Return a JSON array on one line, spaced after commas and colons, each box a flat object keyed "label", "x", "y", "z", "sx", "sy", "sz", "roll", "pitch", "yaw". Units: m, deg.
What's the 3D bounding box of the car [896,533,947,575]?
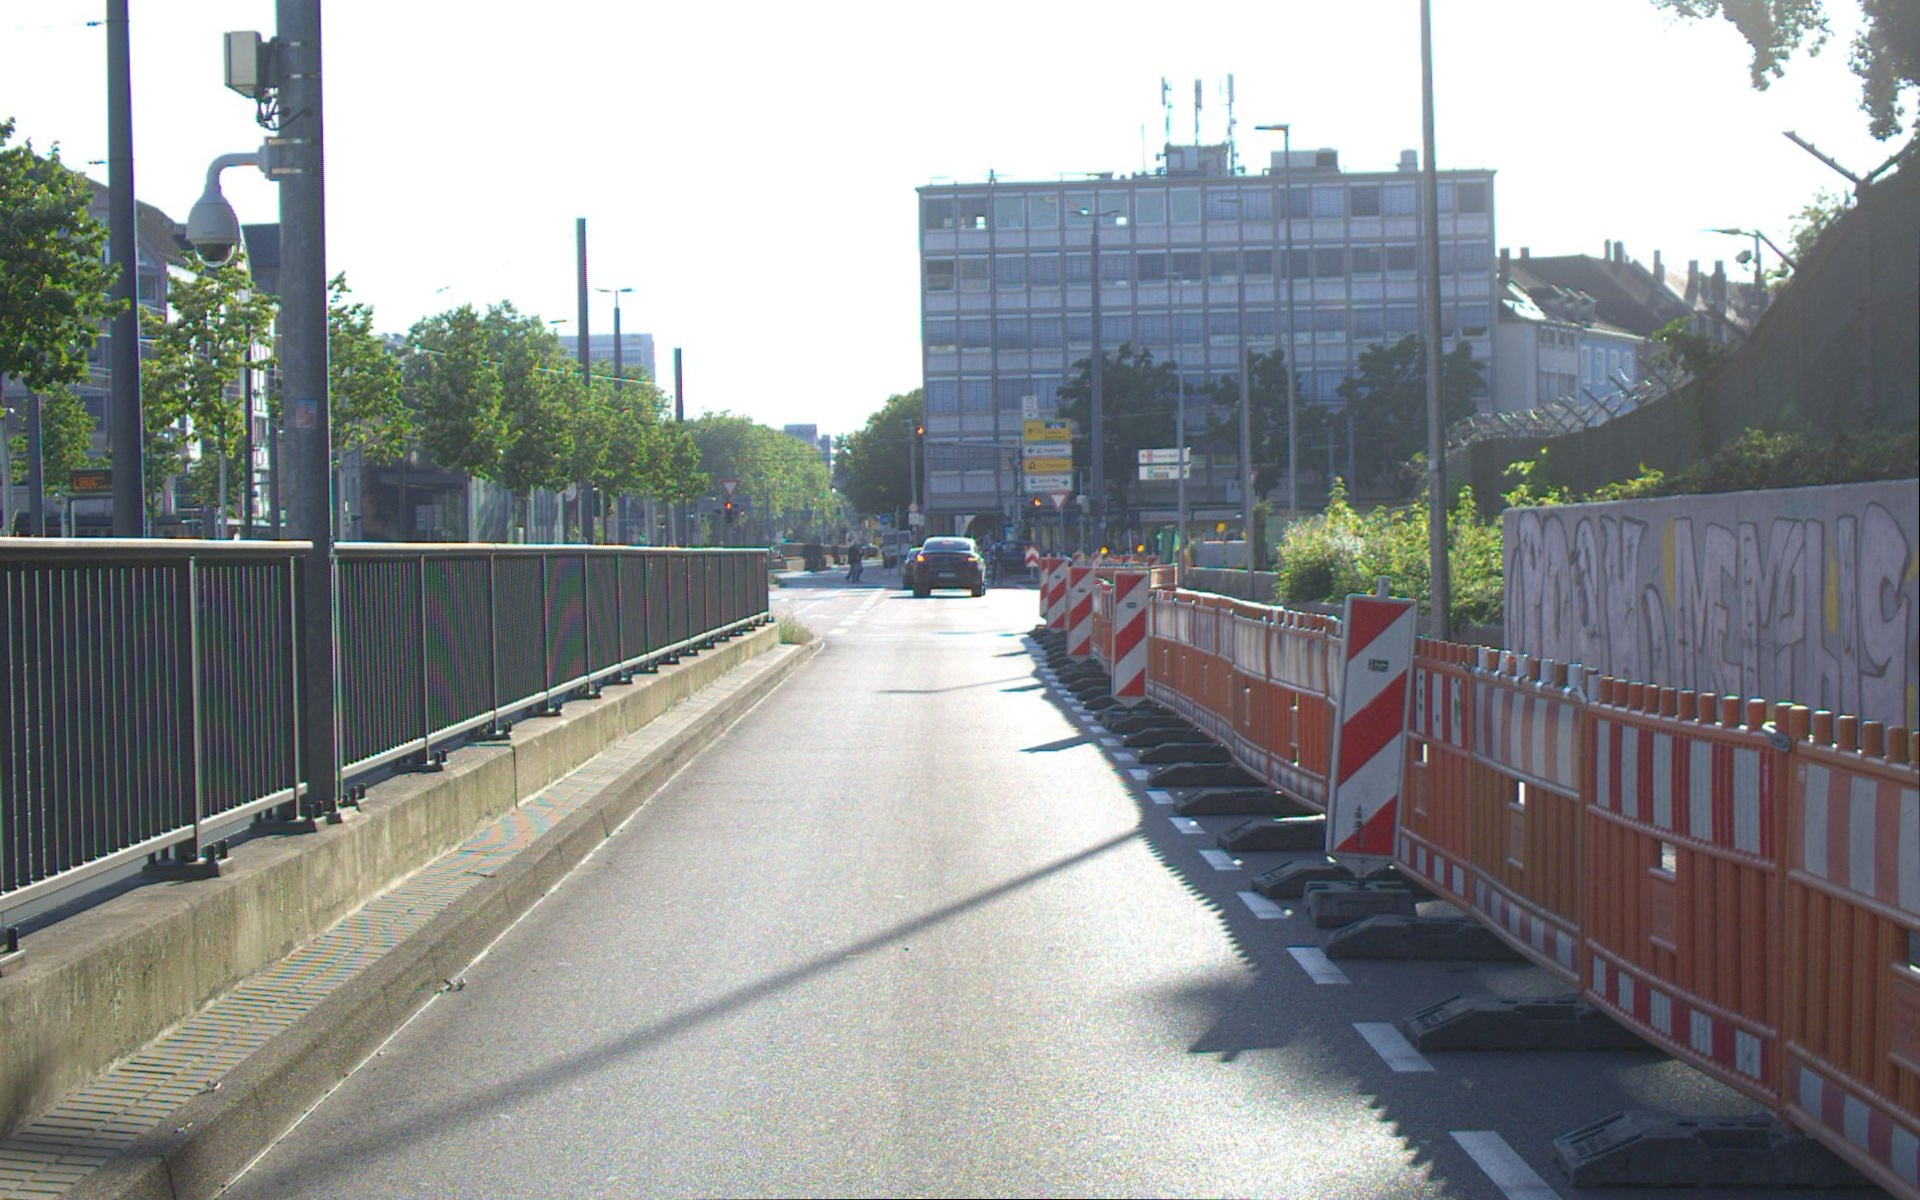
[{"label": "car", "x": -1.336, "y": -1.617, "z": 120.076, "sx": 1.743, "sy": 1.421, "sz": 4.000, "roll": -1, "pitch": 1, "yaw": 0}]

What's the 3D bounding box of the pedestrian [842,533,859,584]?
[{"label": "pedestrian", "x": -4.287, "y": -1.616, "z": 134.547, "sx": 0.613, "sy": 2.007, "sz": 0.511, "roll": -1, "pitch": 1, "yaw": 3}]

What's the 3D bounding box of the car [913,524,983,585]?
[{"label": "car", "x": -0.367, "y": -1.357, "z": 101.251, "sx": 1.993, "sy": 1.687, "sz": 4.001, "roll": 0, "pitch": 2, "yaw": -1}]

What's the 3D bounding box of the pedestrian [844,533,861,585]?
[{"label": "pedestrian", "x": -4.182, "y": -1.610, "z": 133.981, "sx": 0.613, "sy": 2.007, "sz": 0.511, "roll": -1, "pitch": 1, "yaw": 3}]

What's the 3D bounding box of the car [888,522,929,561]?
[{"label": "car", "x": -3.387, "y": -3.805, "z": 224.176, "sx": 2.486, "sy": 2.384, "sz": 5.935, "roll": -3, "pitch": 1, "yaw": -1}]
